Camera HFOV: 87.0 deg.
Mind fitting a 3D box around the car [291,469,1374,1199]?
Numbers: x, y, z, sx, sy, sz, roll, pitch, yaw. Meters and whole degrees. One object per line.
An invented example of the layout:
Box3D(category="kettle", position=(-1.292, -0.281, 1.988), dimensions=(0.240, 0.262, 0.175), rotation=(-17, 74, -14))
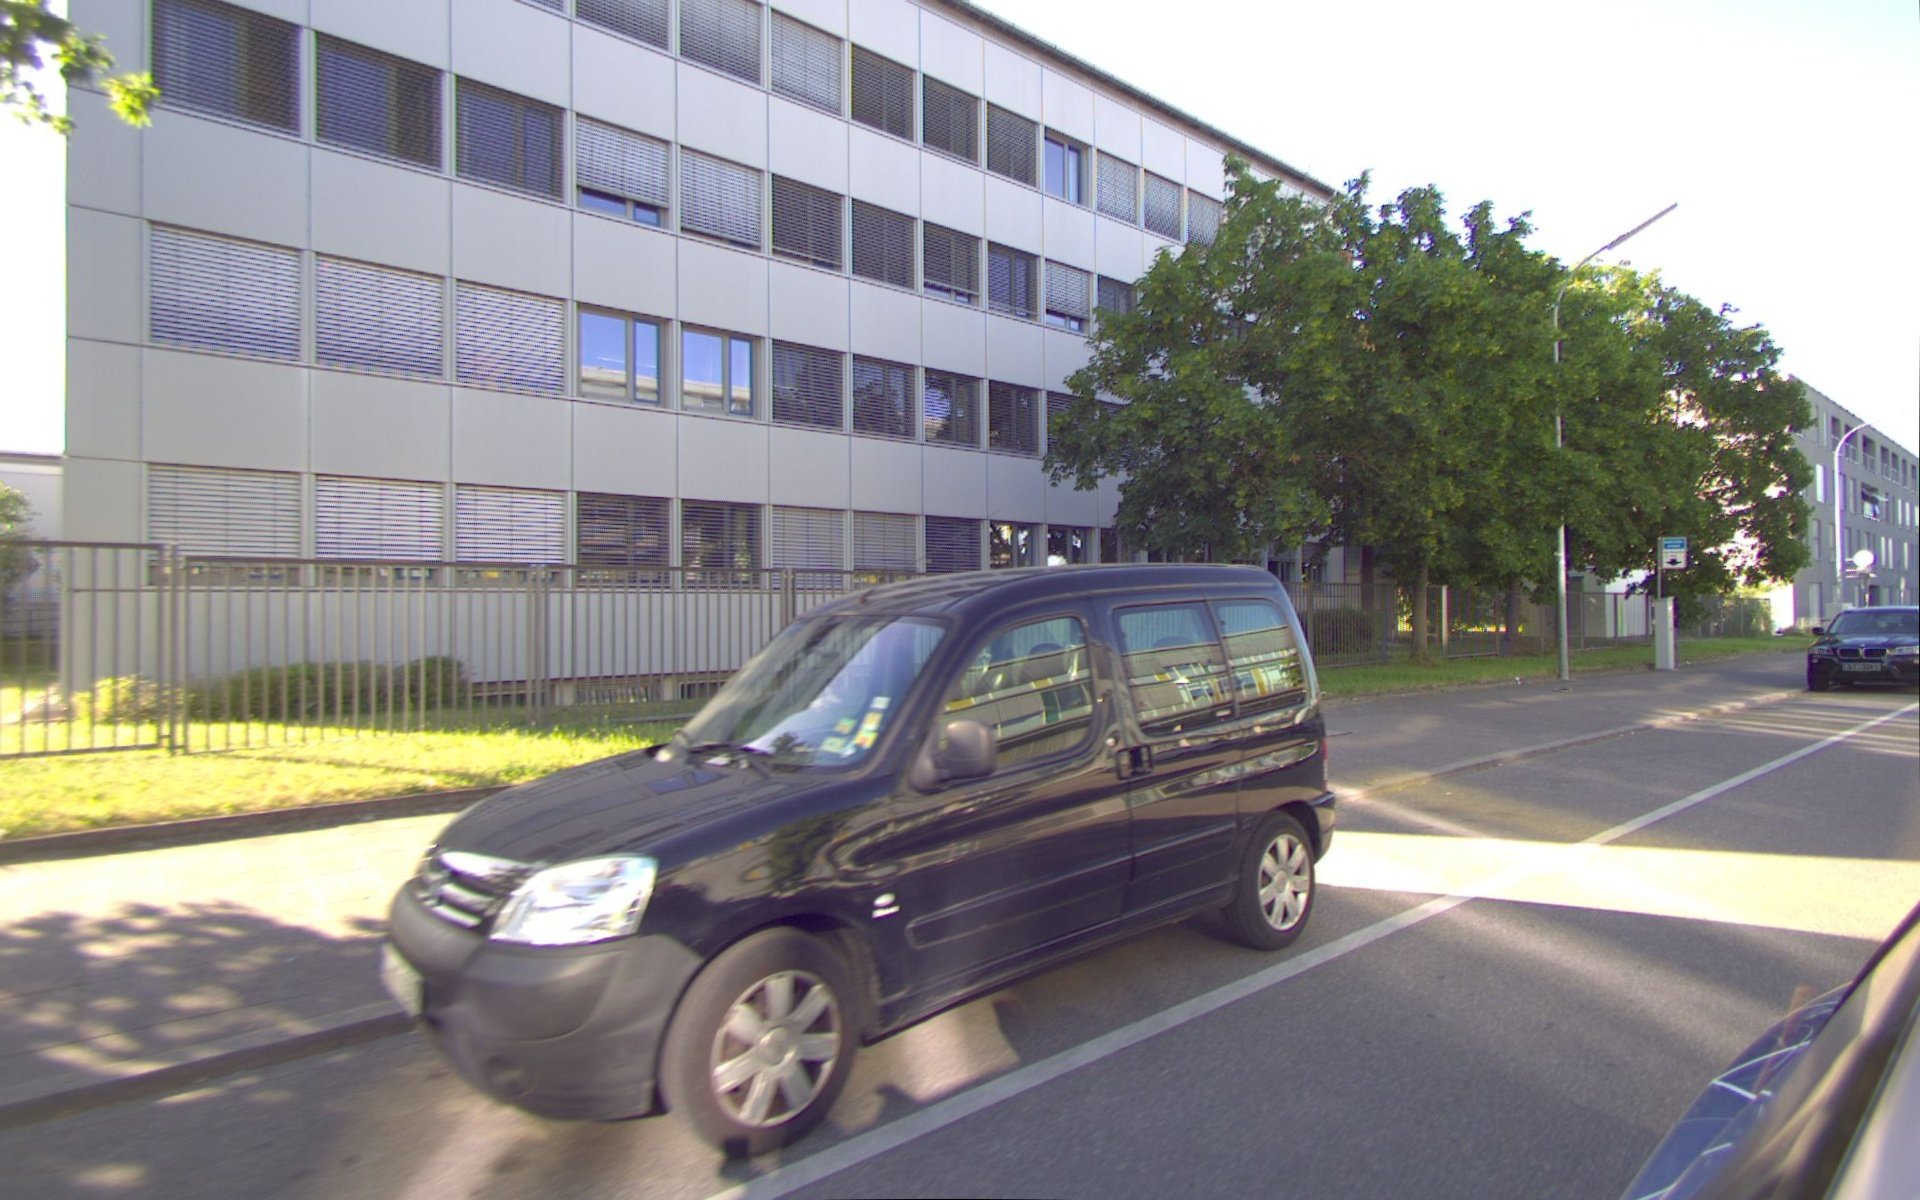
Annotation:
Box3D(category="car", position=(-0.175, 0.655, 4.221), dimensions=(4.218, 1.818, 1.705), rotation=(0, -3, -40))

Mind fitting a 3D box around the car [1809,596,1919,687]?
Box3D(category="car", position=(18.596, 0.778, 20.105), dimensions=(4.218, 1.646, 1.889), rotation=(0, -3, -40))
